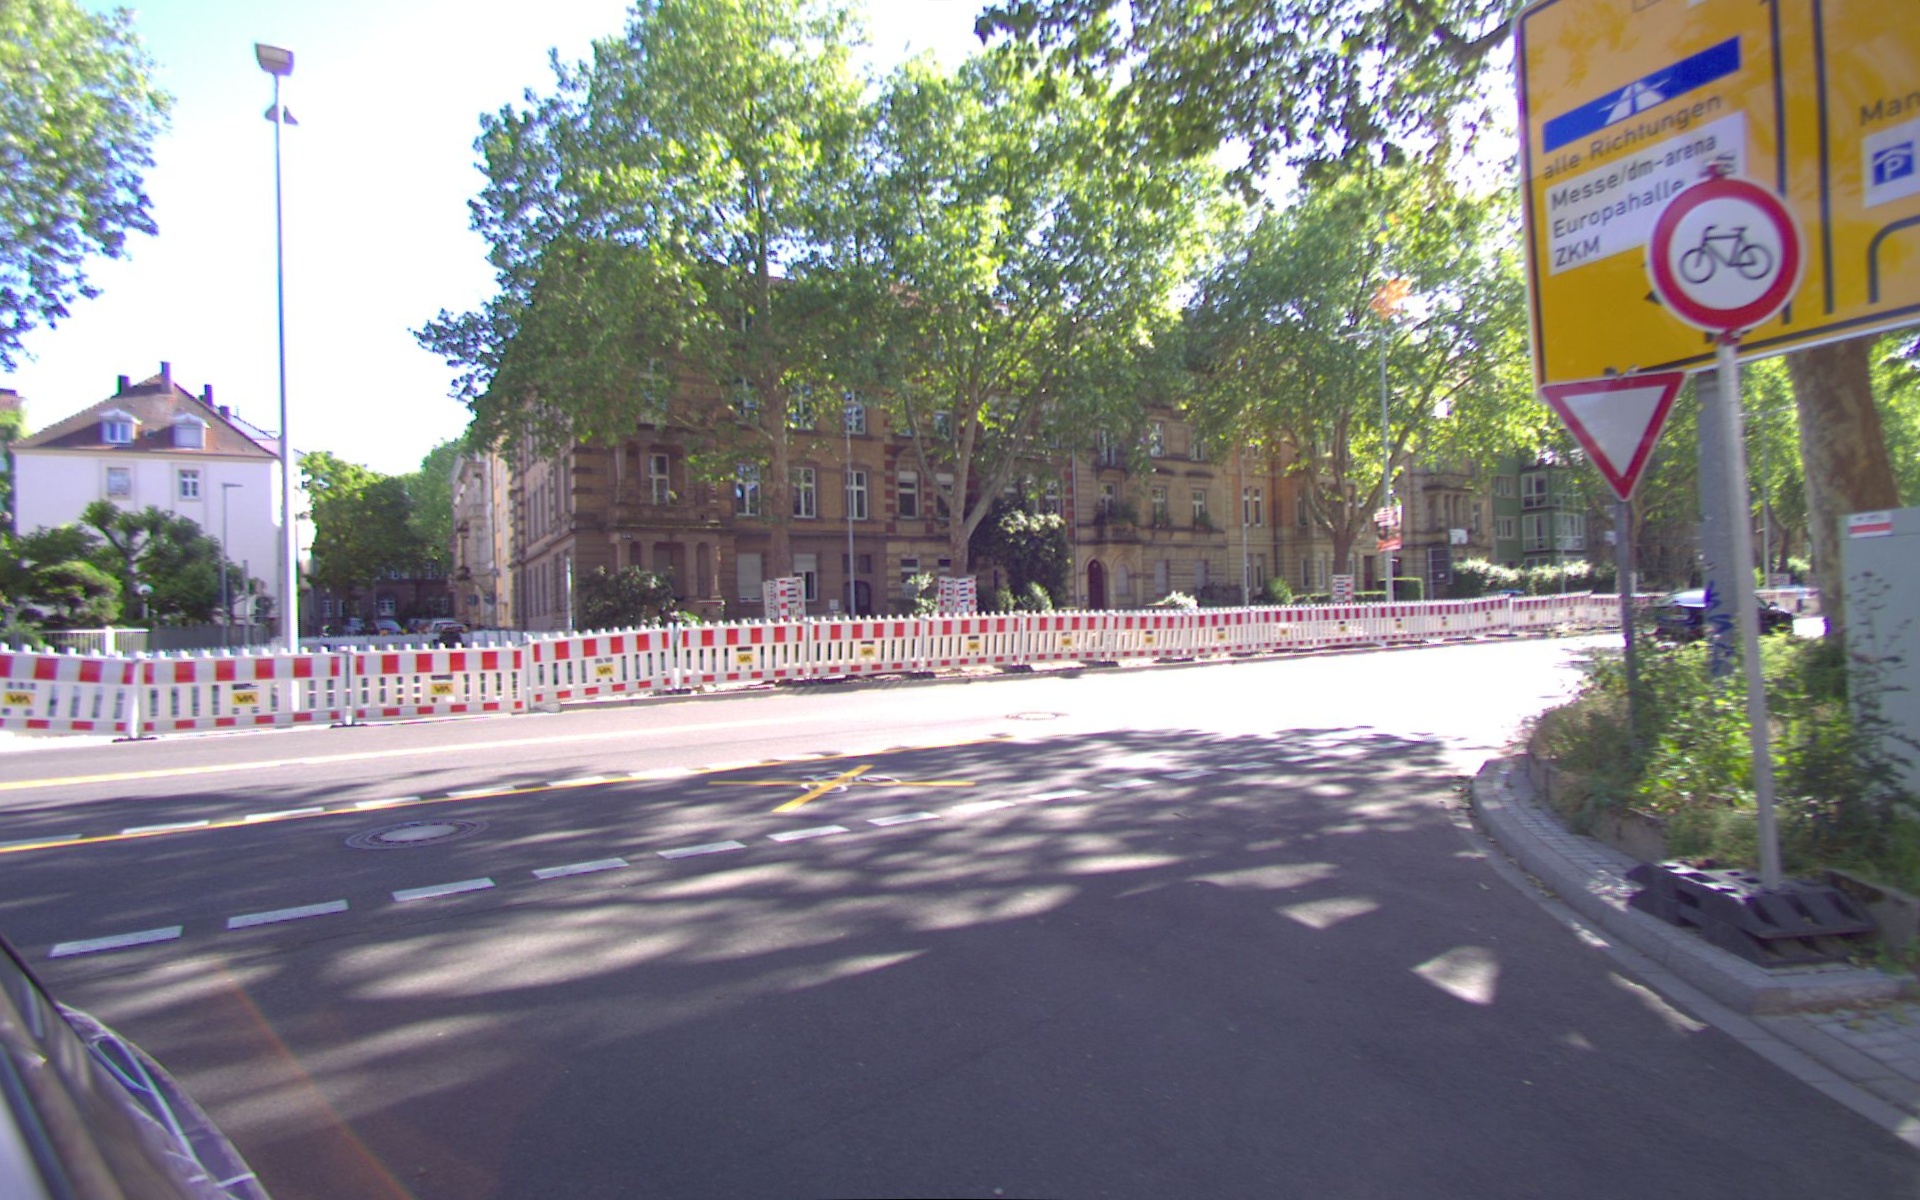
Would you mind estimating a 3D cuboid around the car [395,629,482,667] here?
[{"bbox_3d":[-26.017,2.372,50.515,3.738,1.749,1.627,-1,-2,-30],"label":"car"}]

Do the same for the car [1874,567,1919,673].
[{"bbox_3d":[16.136,0.243,15.771,3.933,1.580,1.783,-1,-2,-33],"label":"car"}]

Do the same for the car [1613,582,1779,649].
[{"bbox_3d":[18.177,0.355,24.947,4.401,1.494,1.849,-1,-1,-33],"label":"car"}]

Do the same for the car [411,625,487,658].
[{"bbox_3d":[-28.214,2.284,55.892,3.617,1.662,1.605,-1,-1,-31],"label":"car"}]

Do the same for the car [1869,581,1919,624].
[{"bbox_3d":[34.019,0.060,35.990,3.671,1.497,1.629,-1,0,-33],"label":"car"}]

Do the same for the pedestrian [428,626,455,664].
[{"bbox_3d":[-23.426,2.012,45.717,0.825,1.673,0.752,-3,-2,33],"label":"pedestrian"}]

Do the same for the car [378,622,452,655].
[{"bbox_3d":[-31.922,2.237,59.299,3.738,1.749,1.627,-1,-2,-30],"label":"car"}]
